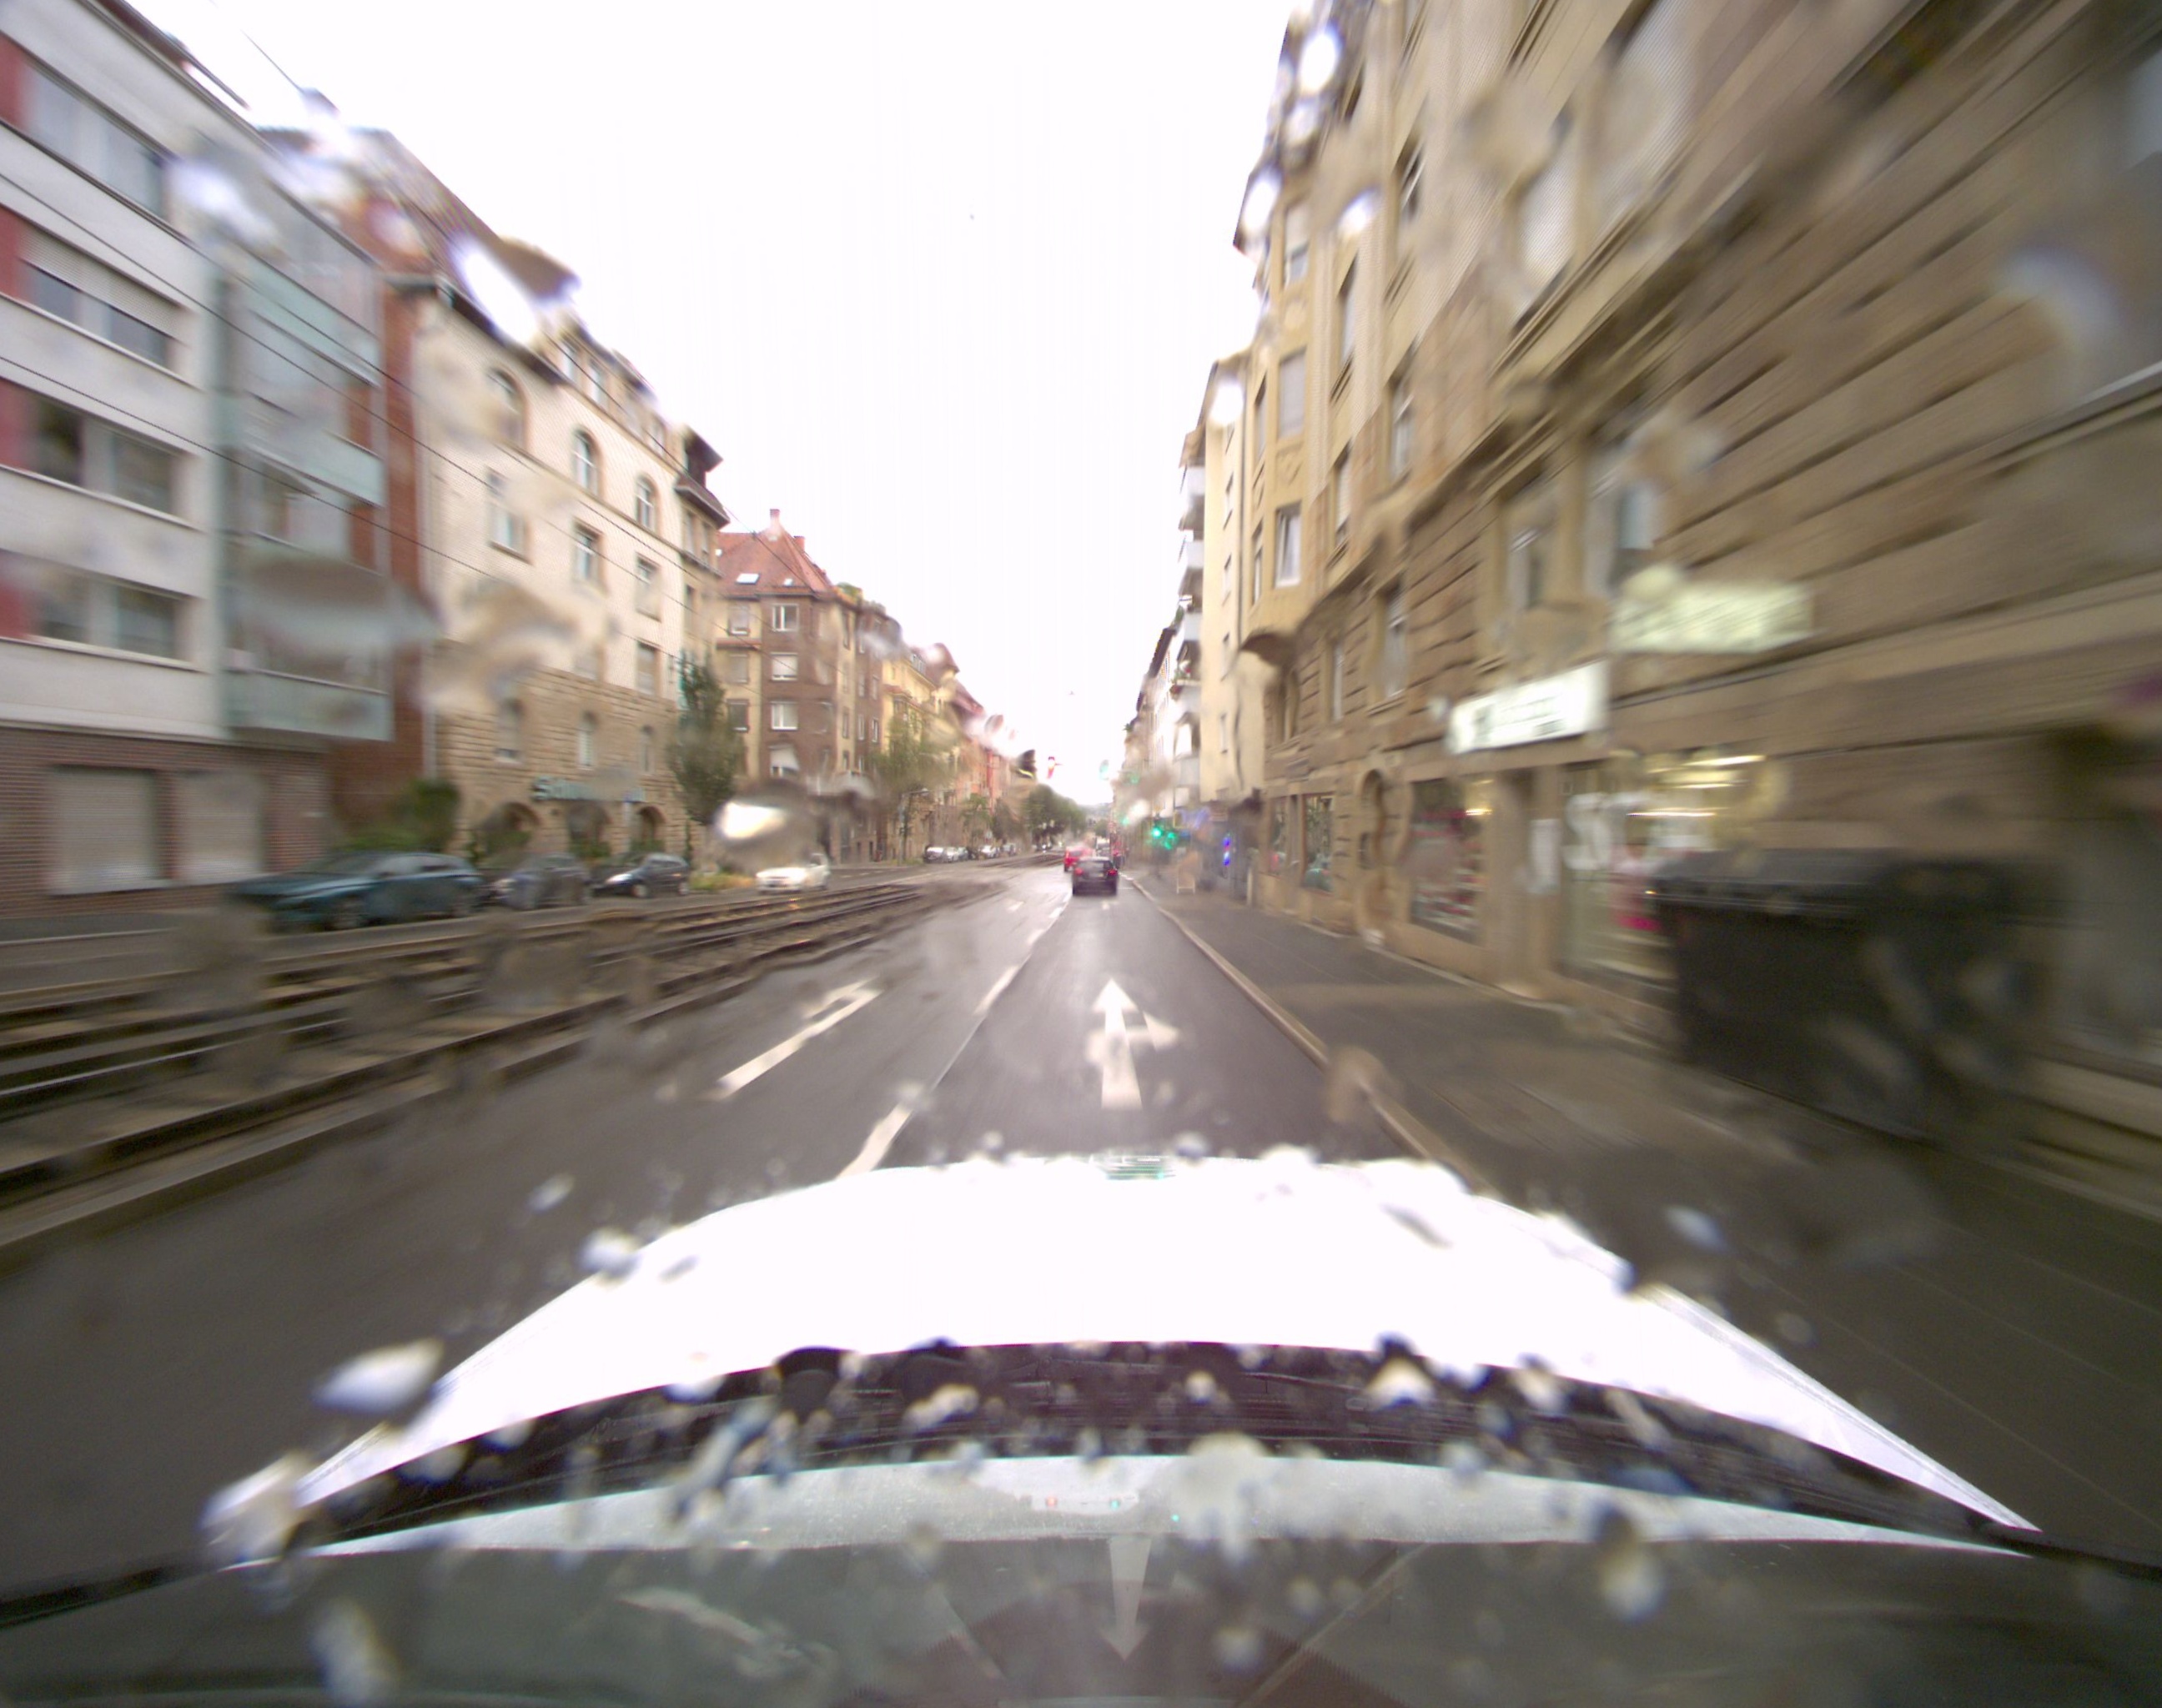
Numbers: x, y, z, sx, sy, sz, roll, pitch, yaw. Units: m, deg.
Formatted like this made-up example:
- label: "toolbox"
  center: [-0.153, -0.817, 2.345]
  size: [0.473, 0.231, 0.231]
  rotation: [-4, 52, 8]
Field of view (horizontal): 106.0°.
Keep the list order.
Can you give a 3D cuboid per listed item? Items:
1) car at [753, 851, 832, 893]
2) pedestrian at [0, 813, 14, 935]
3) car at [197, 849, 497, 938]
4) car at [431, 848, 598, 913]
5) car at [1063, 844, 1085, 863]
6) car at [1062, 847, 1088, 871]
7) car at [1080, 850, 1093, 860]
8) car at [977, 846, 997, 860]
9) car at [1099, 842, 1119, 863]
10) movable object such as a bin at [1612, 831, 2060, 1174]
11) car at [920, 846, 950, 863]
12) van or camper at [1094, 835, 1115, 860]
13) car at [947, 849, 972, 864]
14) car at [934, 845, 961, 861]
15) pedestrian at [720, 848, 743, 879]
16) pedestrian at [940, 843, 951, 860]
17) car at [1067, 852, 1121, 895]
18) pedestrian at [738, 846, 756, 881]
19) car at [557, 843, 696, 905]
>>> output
- label: "car"
  center: [-10.952, 0.645, 31.191]
  size: [1.620, 1.482, 3.583]
  rotation: [0, 0, 2]
- label: "pedestrian"
  center: [-16.118, 0.288, 11.642]
  size: [0.671, 1.772, 0.783]
  rotation: [0, 0, 1]
- label: "car"
  center: [-14.216, 0.659, 16.219]
  size: [1.793, 1.454, 4.435]
  rotation: [1, 1, 3]
- label: "car"
  center: [-14.195, 0.607, 20.673]
  size: [1.802, 1.498, 3.523]
  rotation: [1, 0, -2]
- label: "car"
  center: [-0.659, -0.030, 75.159]
  size: [1.916, 1.655, 3.998]
  rotation: [1, 0, -1]
- label: "car"
  center: [-0.341, 0.293, 53.405]
  size: [1.530, 1.510, 4.002]
  rotation: [1, 1, 2]
- label: "car"
  center: [0.910, 0.181, 126.278]
  size: [1.895, 1.593, 4.001]
  rotation: [0, 0, 1]
- label: "car"
  center: [-11.712, -0.120, 101.776]
  size: [1.776, 1.589, 4.356]
  rotation: [1, 0, 4]
- label: "car"
  center: [2.534, -0.183, 74.602]
  size: [1.762, 1.808, 4.484]
  rotation: [1, 1, 1]
- label: "movable object such as a bin"
  center: [3.717, 0.640, 4.218]
  size: [1.005, 1.451, 1.394]
  rotation: [-2, 0, 1]
- label: "car"
  center: [-12.864, 0.041, 71.943]
  size: [1.758, 1.486, 4.002]
  rotation: [0, 0, 2]
- label: "van or camper"
  center: [2.408, -0.619, 83.019]
  size: [2.056, 2.469, 6.121]
  rotation: [0, 0, 2]
- label: "car"
  center: [-12.283, 0.252, 82.593]
  size: [1.554, 1.438, 4.150]
  rotation: [1, 0, 4]
- label: "car"
  center: [-12.573, -0.130, 76.909]
  size: [1.660, 1.426, 4.266]
  rotation: [0, 1, 3]
- label: "pedestrian"
  center: [-16.222, 0.419, 37.768]
  size: [0.751, 1.422, 0.646]
  rotation: [0, 0, 3]
- label: "pedestrian"
  center: [-14.742, -0.264, 88.651]
  size: [1.003, 1.753, 0.925]
  rotation: [2, 0, 1]
- label: "car"
  center: [0.501, 0.702, 31.152]
  size: [1.939, 1.564, 3.643]
  rotation: [0, 0, 0]
- label: "pedestrian"
  center: [-15.501, 0.443, 37.825]
  size: [0.514, 1.570, 0.644]
  rotation: [-1, -1, 6]
- label: "car"
  center: [-14.189, 0.589, 25.696]
  size: [1.876, 1.728, 3.748]
  rotation: [2, 0, 7]
